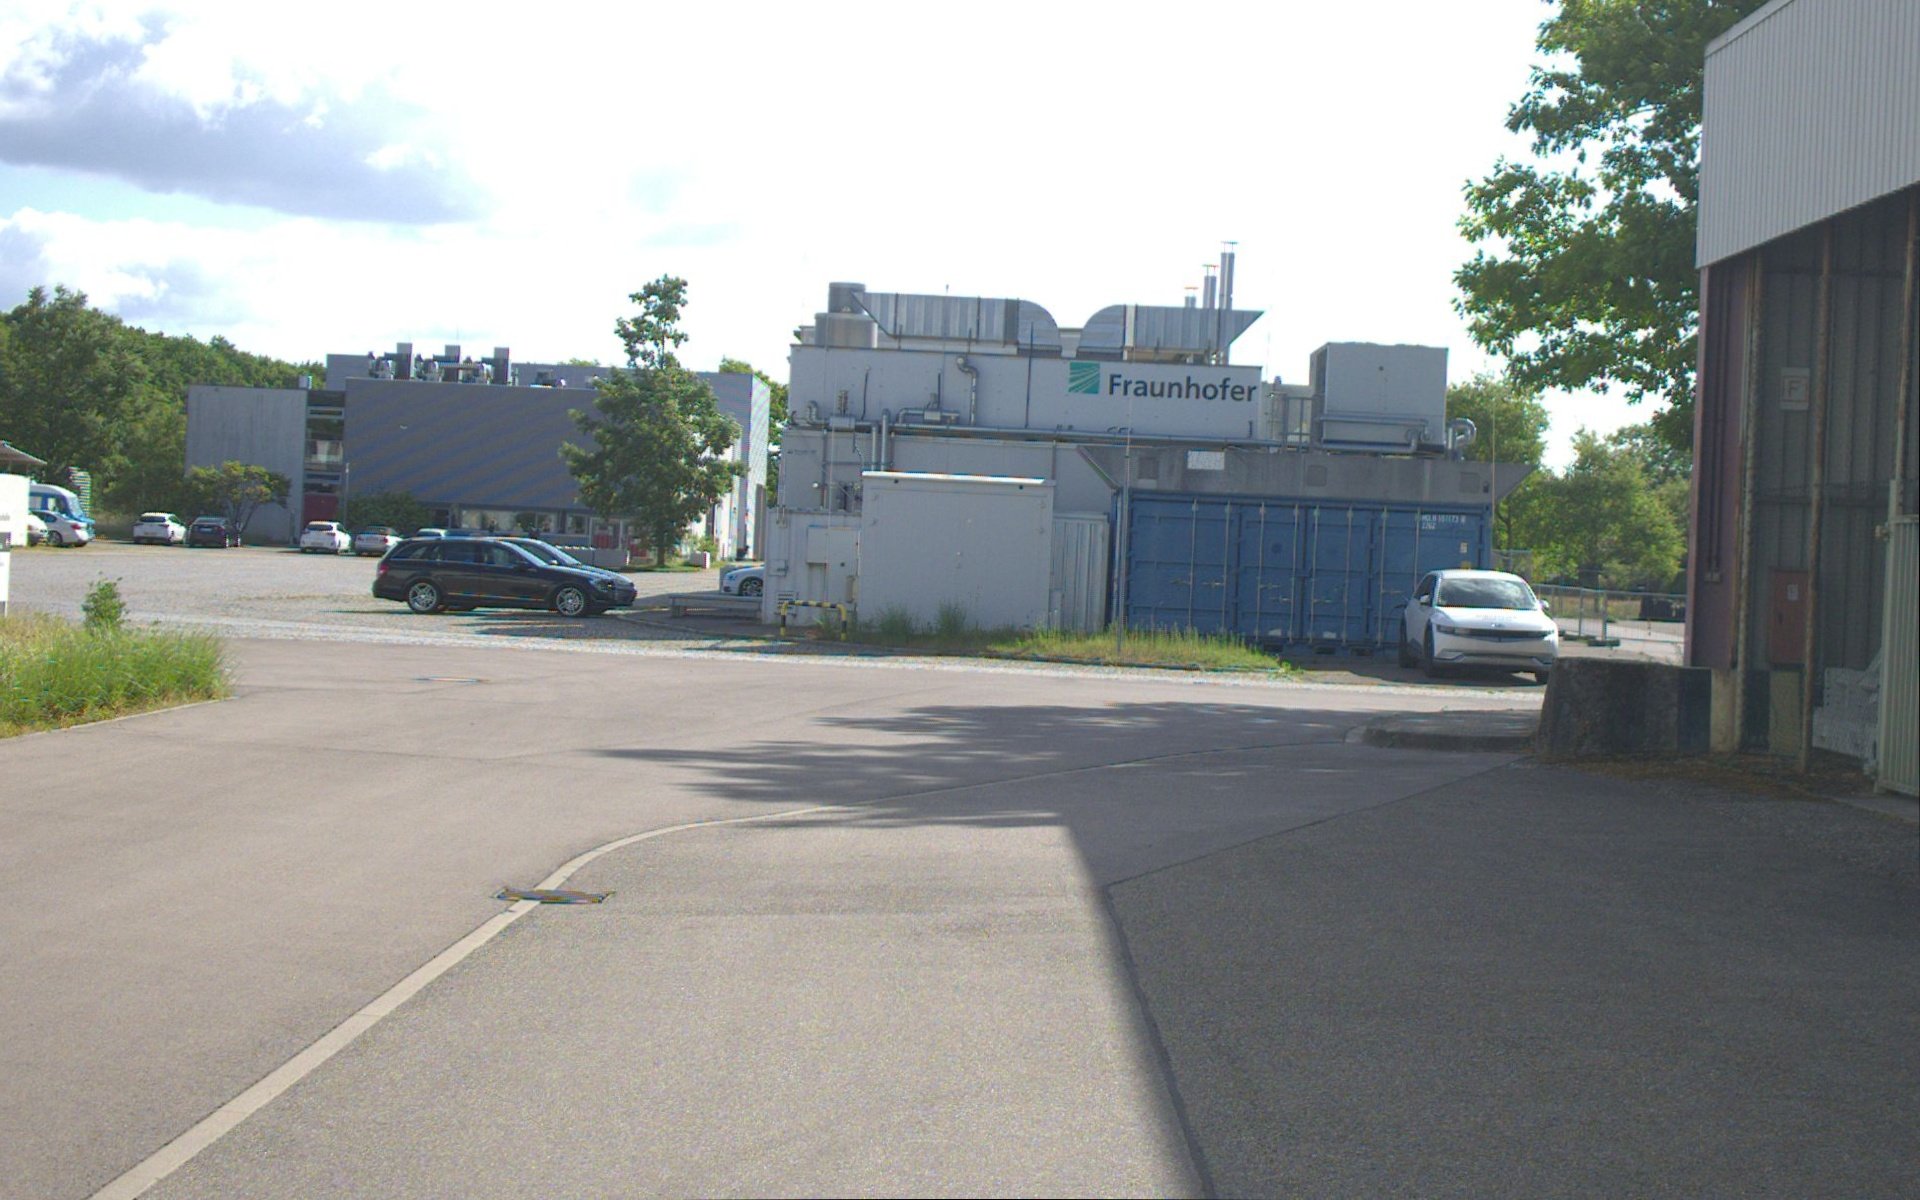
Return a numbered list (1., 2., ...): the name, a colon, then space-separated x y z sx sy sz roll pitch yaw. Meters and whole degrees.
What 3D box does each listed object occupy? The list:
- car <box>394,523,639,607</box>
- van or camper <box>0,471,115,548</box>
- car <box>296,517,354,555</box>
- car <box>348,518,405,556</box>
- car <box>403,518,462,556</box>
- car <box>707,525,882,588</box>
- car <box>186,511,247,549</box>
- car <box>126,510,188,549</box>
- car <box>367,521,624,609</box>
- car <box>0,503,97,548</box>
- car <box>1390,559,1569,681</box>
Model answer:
1. car: -8.767 -0.695 68.234 4.526 1.503 1.909 2 1 2
2. van or camper: -37.281 -3.675 138.771 5.714 2.918 2.474 2 1 -2
3. car: -29.967 -2.991 162.354 1.993 1.730 4.000 1 0 0
4. car: -27.472 -2.954 161.976 1.993 1.730 4.000 1 0 0
5. car: -24.884 -2.952 162.292 2.193 1.730 4.000 1 0 0
6. car: -4.443 -1.161 92.546 4.526 1.503 1.909 2 1 2
7. car: -35.000 -3.271 161.907 1.993 1.730 4.000 1 0 0
8. car: -37.807 -3.310 161.991 1.993 1.730 4.000 1 0 0
9. car: -8.751 -0.667 64.996 4.526 1.503 1.909 2 1 2
10. car: -36.260 -2.943 135.509 3.987 1.604 2.000 2 1 -1
11. car: 7.812 0.265 52.069 1.993 1.580 4.173 2 2 0
